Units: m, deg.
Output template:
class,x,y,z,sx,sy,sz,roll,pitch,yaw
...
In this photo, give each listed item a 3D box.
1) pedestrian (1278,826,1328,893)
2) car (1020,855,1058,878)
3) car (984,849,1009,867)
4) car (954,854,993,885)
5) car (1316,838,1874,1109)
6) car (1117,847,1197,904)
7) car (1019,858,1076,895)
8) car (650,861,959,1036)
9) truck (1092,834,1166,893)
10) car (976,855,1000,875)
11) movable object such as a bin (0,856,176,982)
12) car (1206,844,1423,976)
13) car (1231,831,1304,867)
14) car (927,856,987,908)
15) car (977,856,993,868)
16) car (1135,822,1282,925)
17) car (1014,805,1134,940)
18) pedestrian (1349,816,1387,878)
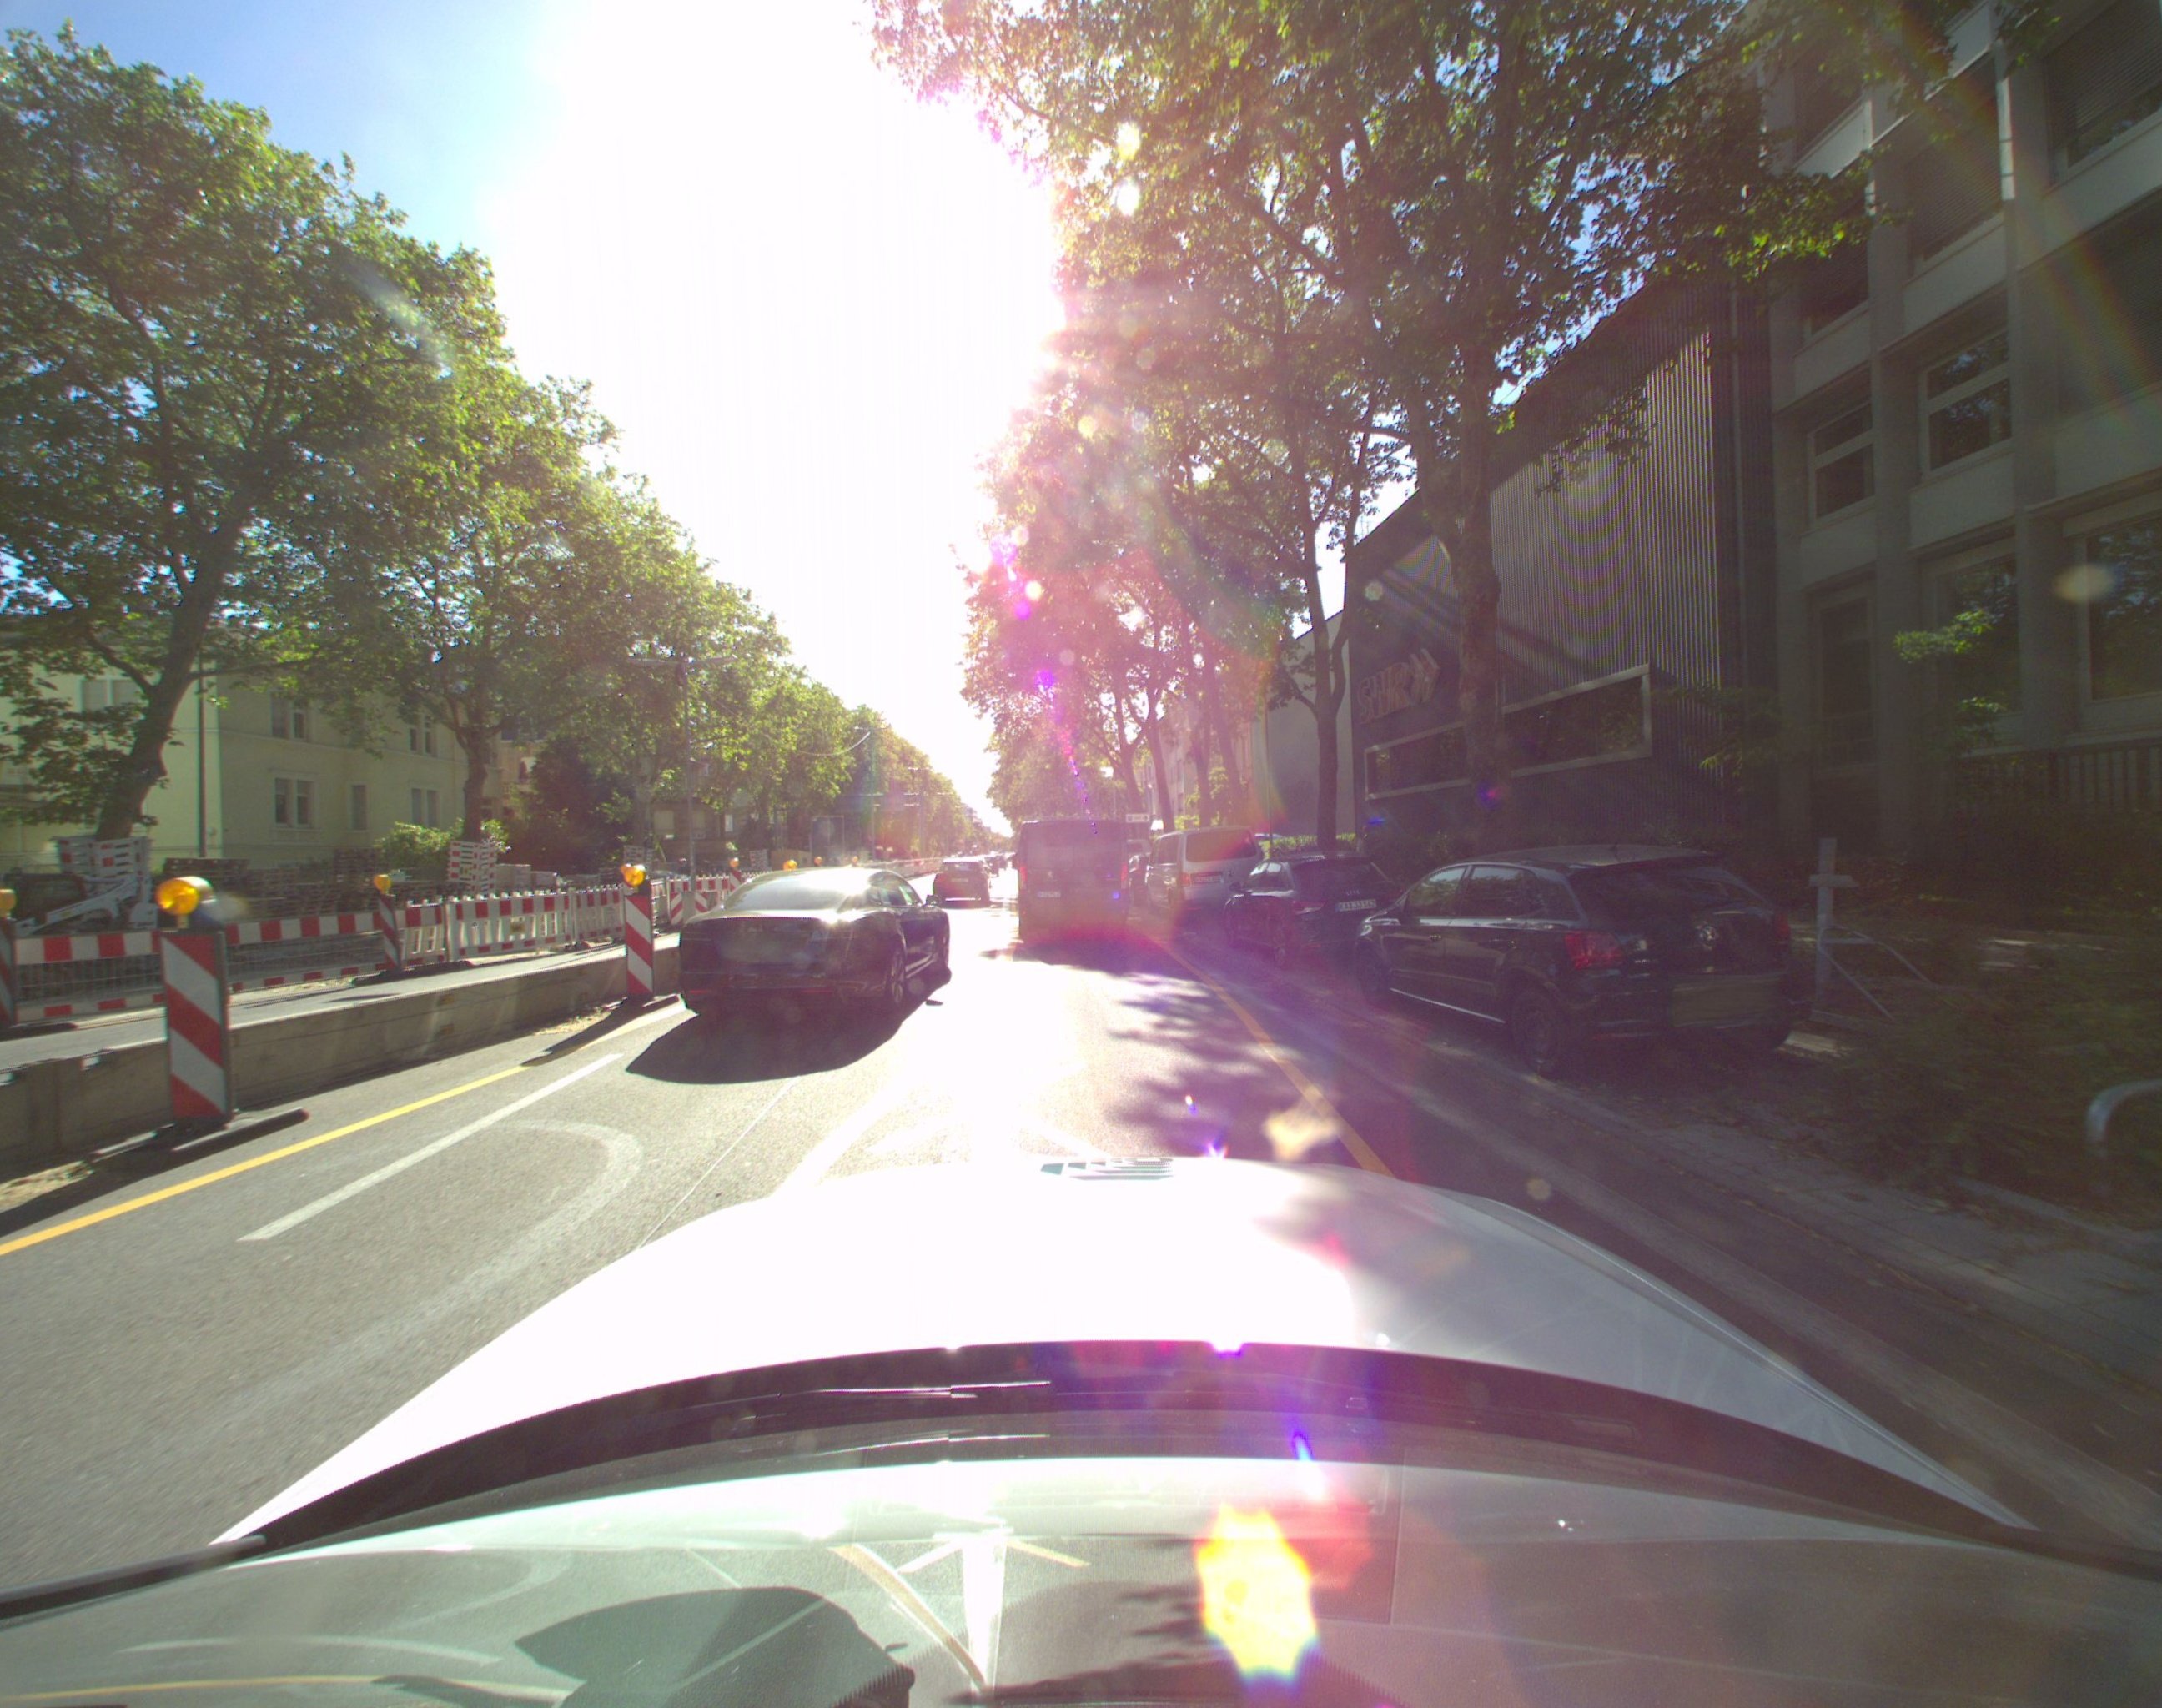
class,x,y,z,sx,sy,sz,roll,pitch,yaw
pedestrian,5.507,0.127,20.245,0.727,1.602,1.264,-2,0,-8
car,-2.461,0.686,46.995,1.991,1.249,3.991,-2,0,-6
car,-7.832,0.377,75.591,1.989,1.588,3.996,-2,0,-2
car,-5.091,0.712,38.874,1.544,1.425,3.552,-1,0,-2
car,3.640,0.685,6.868,1.761,1.508,4.243,-2,0,-5
car,2.162,0.593,24.203,1.744,1.477,4.096,-3,0,-3
car,-1.346,0.821,31.095,1.916,1.249,3.991,-2,0,-6
car,-2.735,0.835,9.343,1.919,1.412,4.625,-1,0,0
truck,1.622,0.334,29.375,1.875,1.881,4.443,-3,0,-6
car,-6.287,0.741,55.535,1.418,1.225,3.433,-2,0,-4
movable object such as a bin,-20.664,1.226,14.906,1.989,2.278,5.593,-3,0,-2
car,3.129,0.672,11.824,1.655,1.540,4.121,-1,0,-5
car,9.869,-0.255,43.171,1.718,1.853,3.468,-1,0,-38
car,-3.889,0.820,26.073,1.744,1.407,3.991,-1,2,-7
car,-12.645,1.003,107.589,1.990,1.469,3.995,0,1,-4
car,2.676,0.376,18.490,2.023,1.946,5.263,-2,0,-5
car,-0.244,0.295,16.402,2.091,2.355,3.928,-1,1,-4
pedestrian,7.817,-0.207,22.174,0.705,1.648,0.673,1,2,-8
